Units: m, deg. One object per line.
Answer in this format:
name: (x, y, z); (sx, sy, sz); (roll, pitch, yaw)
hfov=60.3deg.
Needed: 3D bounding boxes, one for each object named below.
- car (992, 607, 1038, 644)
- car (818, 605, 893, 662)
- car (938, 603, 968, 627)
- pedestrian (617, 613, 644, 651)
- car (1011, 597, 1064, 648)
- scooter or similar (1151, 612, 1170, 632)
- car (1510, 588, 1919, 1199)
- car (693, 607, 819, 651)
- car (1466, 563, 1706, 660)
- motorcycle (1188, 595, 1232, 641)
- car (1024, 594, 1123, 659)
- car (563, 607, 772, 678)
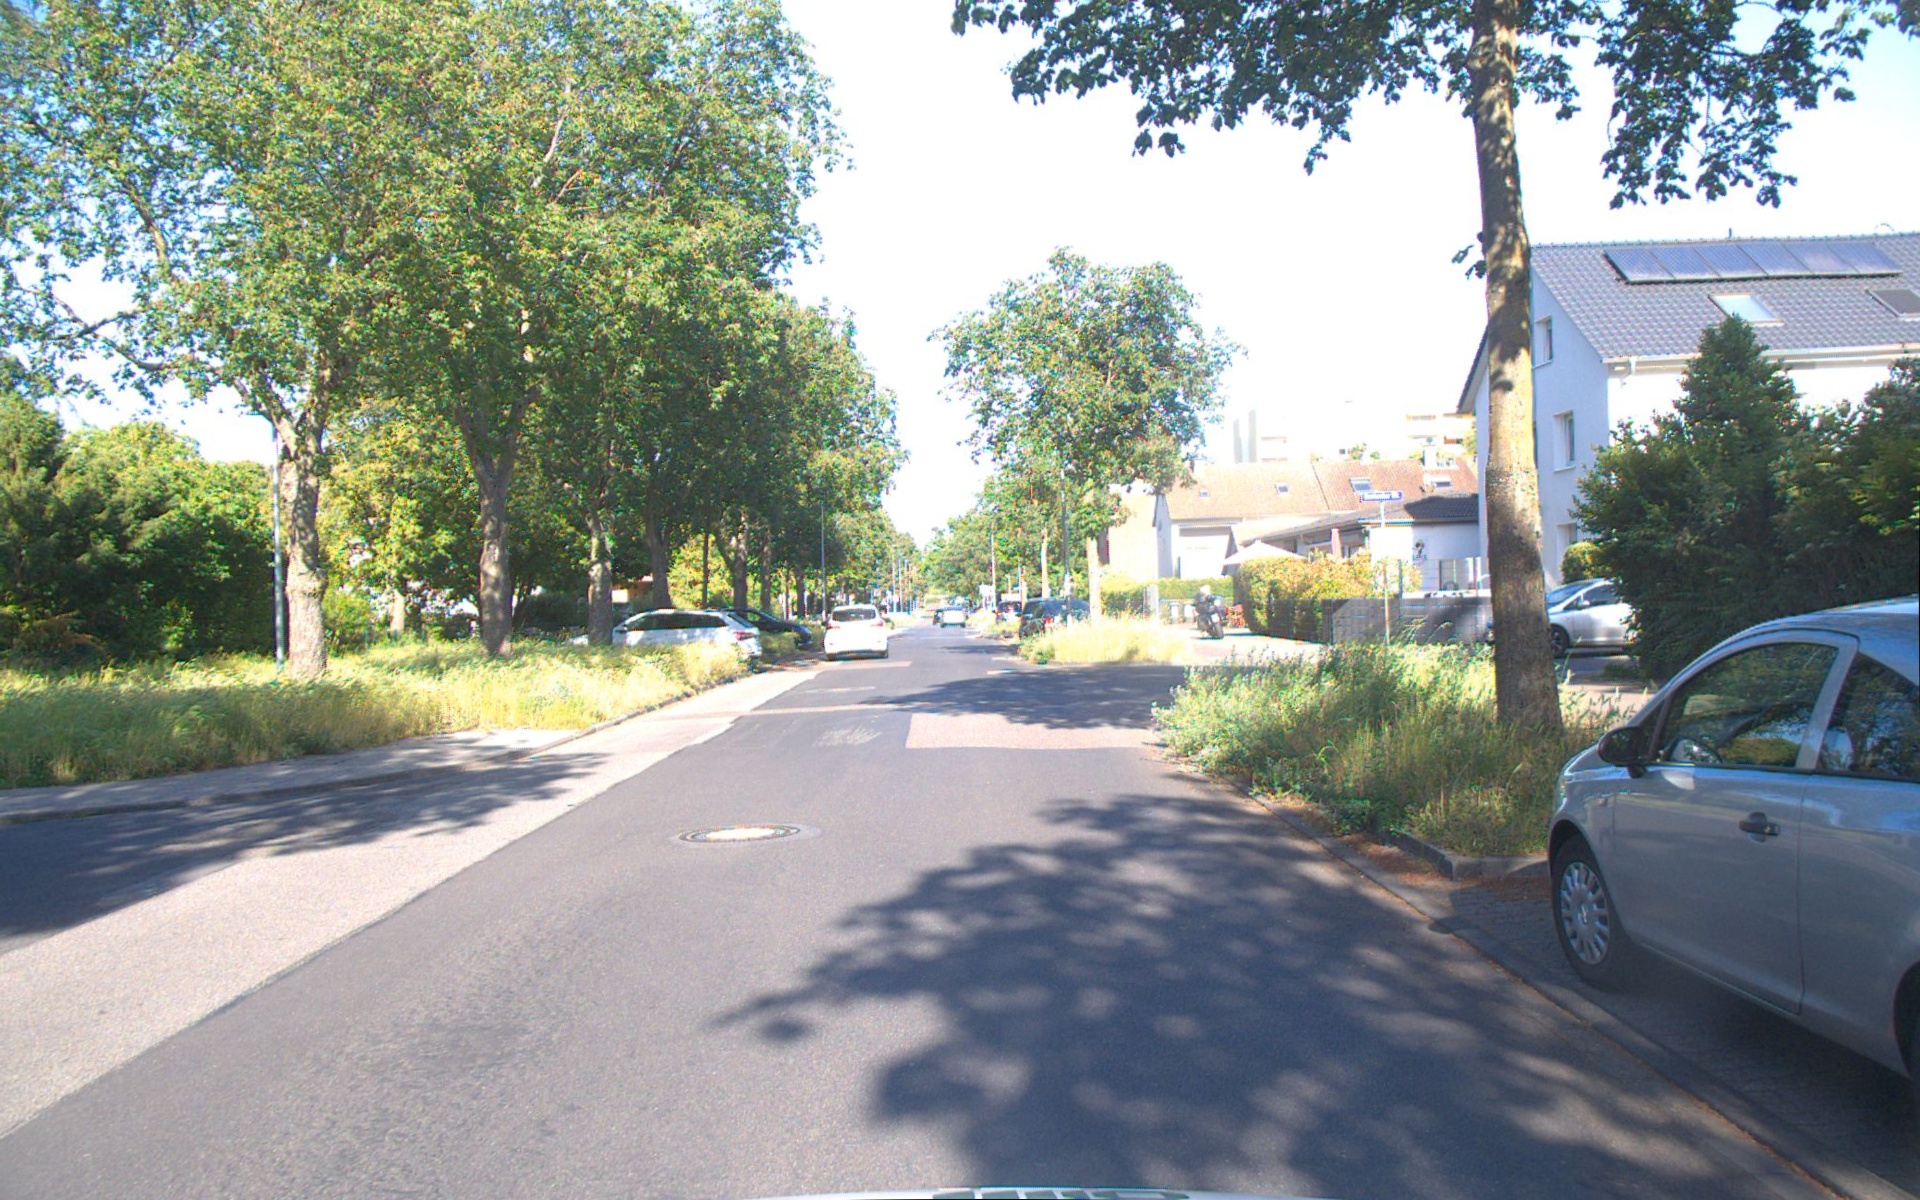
car: (2.771, 1.307, 84.277); (1.954, 1.758, 3.997); (-3, -1, -3)
car: (-2.895, 0.895, 46.607); (1.953, 1.480, 4.222); (-1, 0, -2)
car: (-0.511, 1.038, 111.774); (1.953, 1.534, 3.657); (1, -1, -1)
pedestrian: (-16.510, 1.614, 82.829); (1.205, 1.859, 1.543); (0, -1, -17)
car: (2.662, 0.773, 57.242); (1.577, 1.650, 4.381); (1, -1, 0)
scooter or similar: (8.830, 0.965, 72.790); (0.361, 0.873, 1.407); (-1, 0, -14)
car: (3.274, 0.727, 5.375); (1.951, 1.537, 4.002); (-3, -1, 6)
car: (-7.252, 1.033, 59.054); (4.279, 1.558, 1.807); (0, -1, -2)
car: (11.986, 0.210, 31.807); (3.911, 1.668, 1.774); (-2, 0, -7)
motorcycle: (7.201, 0.515, 47.746); (0.801, 1.248, 2.351); (-3, 0, -1)
car: (3.077, 0.714, 45.653); (1.955, 1.650, 4.375); (1, -1, -6)
car: (-6.893, 0.992, 39.314); (4.575, 1.530, 2.000); (-1, 0, 1)
